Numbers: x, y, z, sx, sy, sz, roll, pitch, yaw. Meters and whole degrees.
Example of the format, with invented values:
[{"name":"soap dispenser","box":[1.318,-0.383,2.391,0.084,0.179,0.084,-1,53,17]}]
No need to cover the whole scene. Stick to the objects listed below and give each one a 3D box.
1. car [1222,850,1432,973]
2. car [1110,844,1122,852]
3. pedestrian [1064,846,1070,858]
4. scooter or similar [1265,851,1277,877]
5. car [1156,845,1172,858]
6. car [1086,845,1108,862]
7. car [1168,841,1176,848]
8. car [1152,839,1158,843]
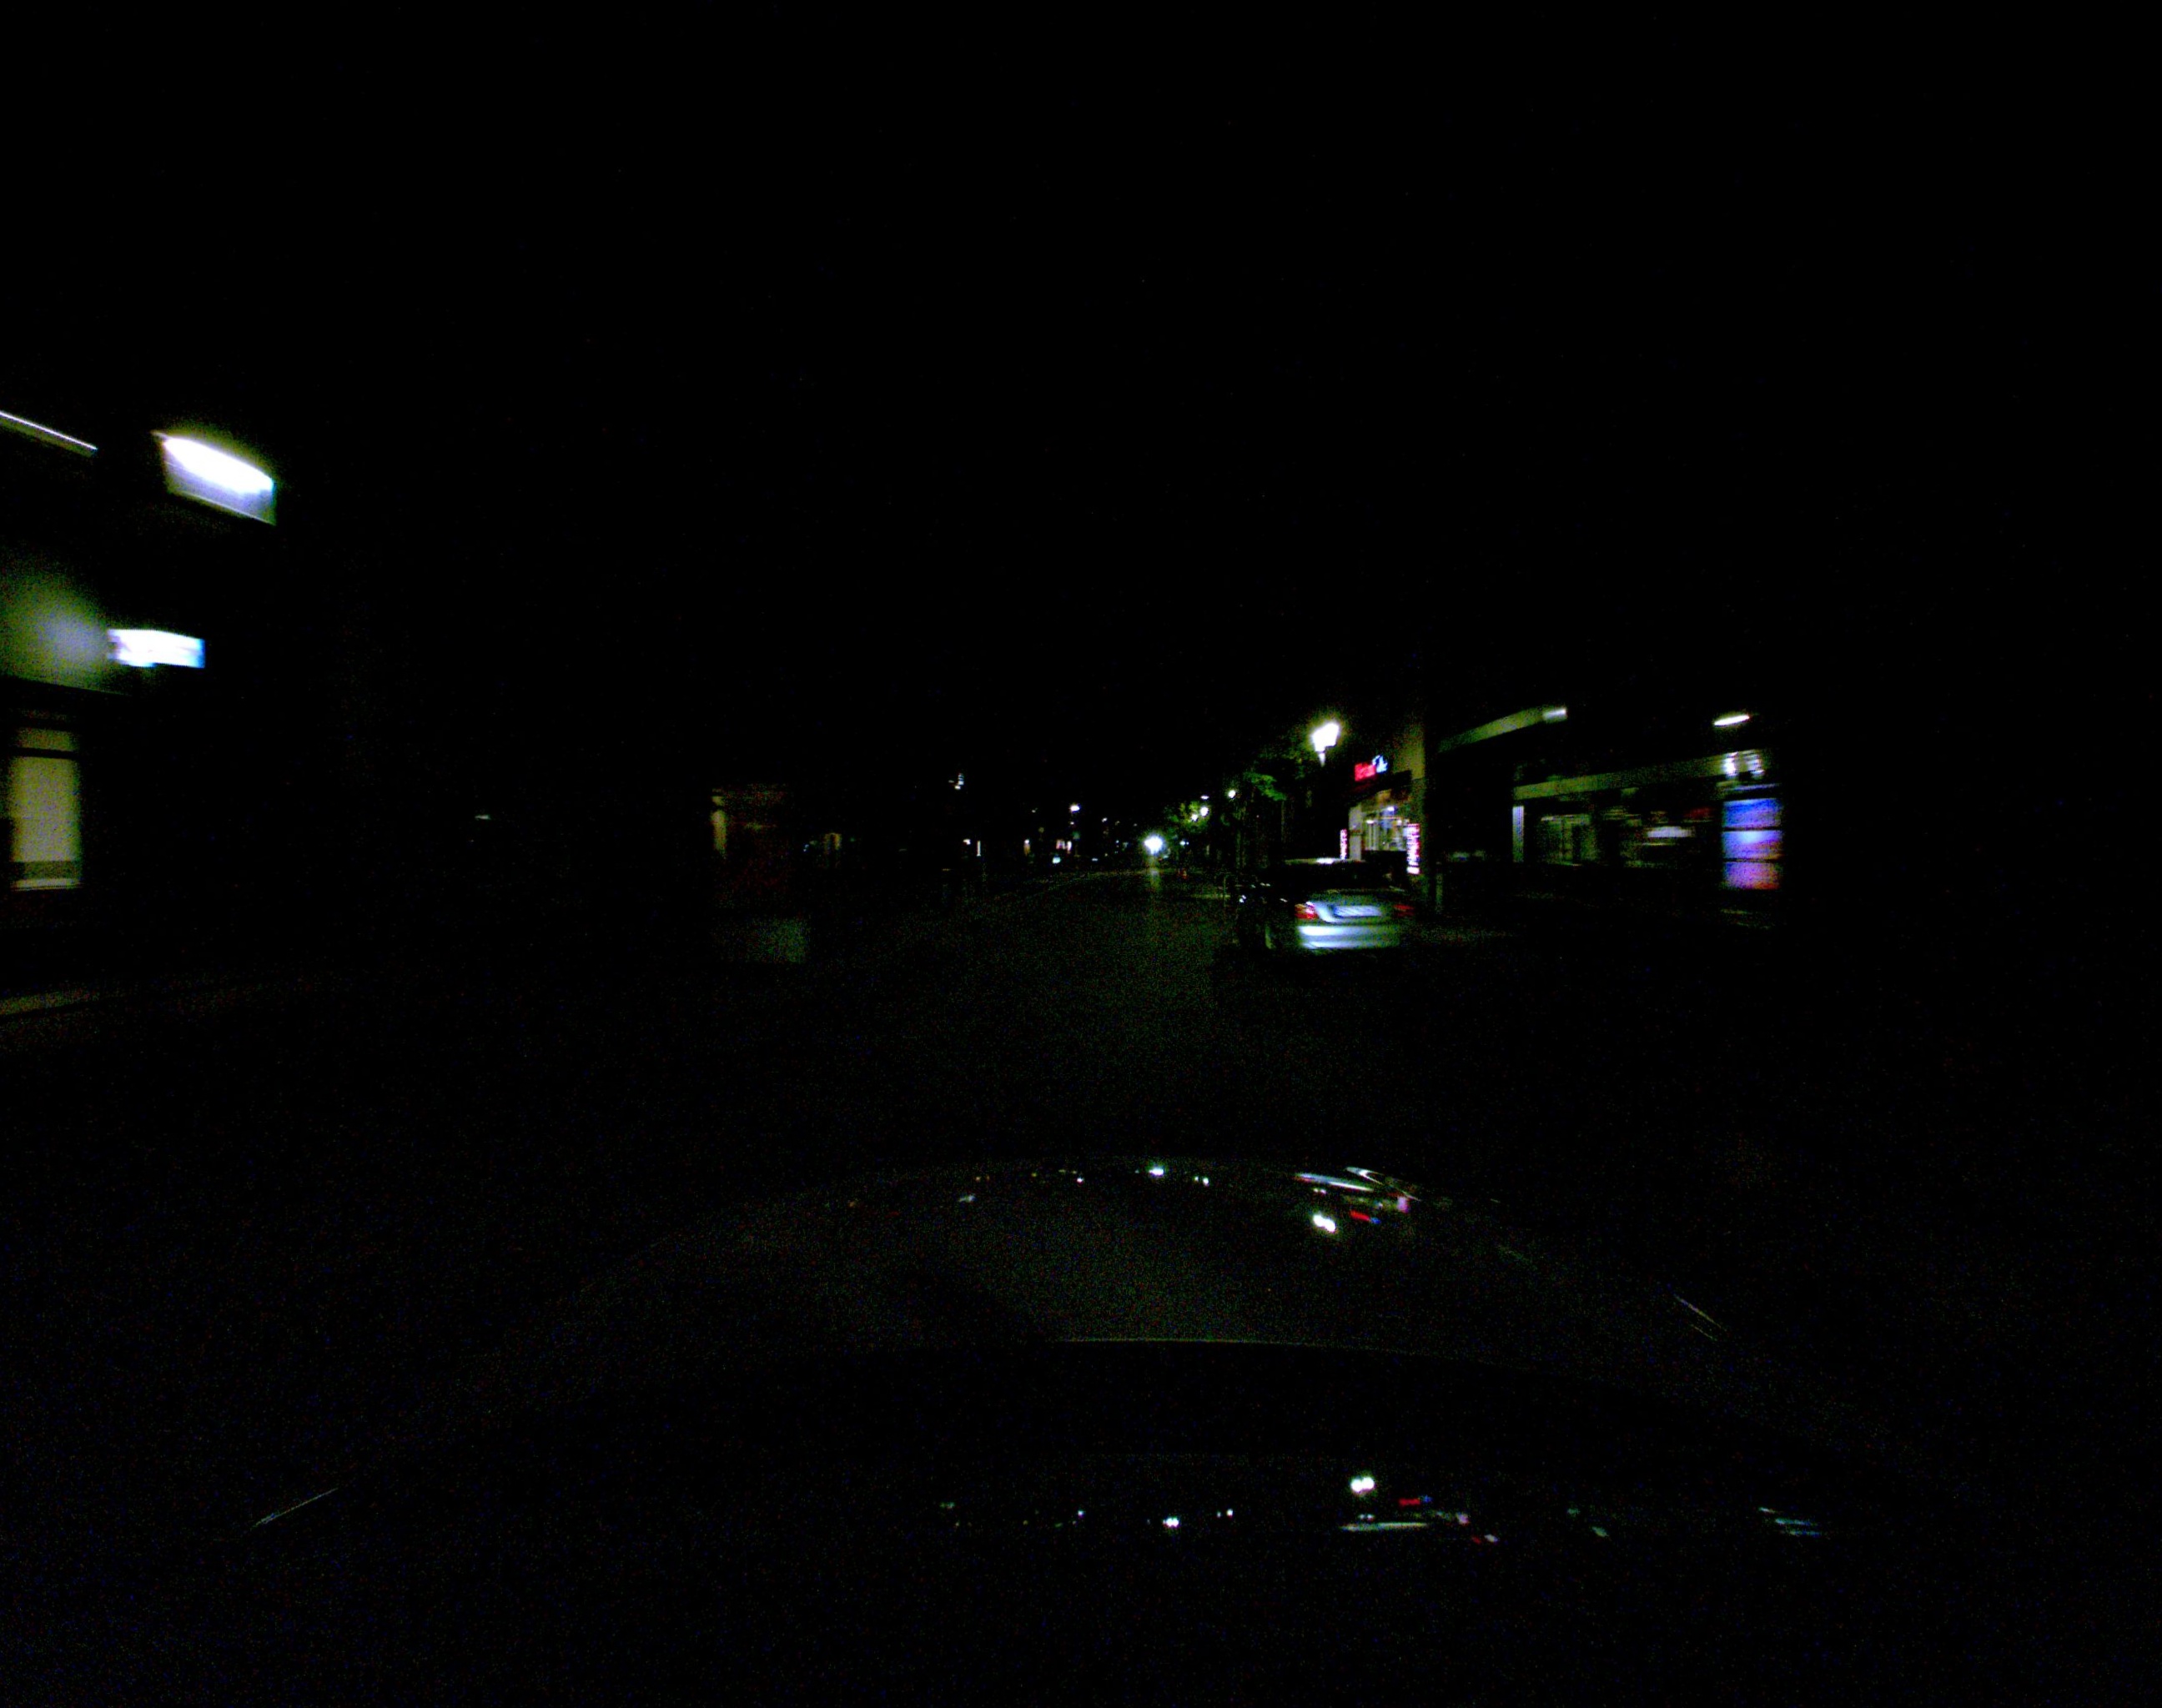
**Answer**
[{"name":"car","box":[3.339,0.675,12.011,1.729,1.440,4.495,-1,0,0]},{"name":"car","box":[6.181,-1.036,143.690,1.904,1.370,4.466,-1,1,7]},{"name":"pedestrian","box":[-1.846,-0.283,108.540,0.765,1.656,0.818,-1,2,6]},{"name":"scooter or similar","box":[9.517,0.512,40.826,0.371,1.277,1.307,-1,-1,6]},{"name":"car","box":[9.598,-0.354,94.706,1.667,1.459,3.679,-1,1,3]},{"name":"car","box":[1.779,-0.075,89.726,2.008,1.691,5.011,1,1,6]},{"name":"car","box":[21.896,-2.223,196.139,1.766,1.652,4.372,-1,1,6]},{"name":"car","box":[23.260,-4.046,257.241,1.714,1.246,4.245,-1,1,6]}]
